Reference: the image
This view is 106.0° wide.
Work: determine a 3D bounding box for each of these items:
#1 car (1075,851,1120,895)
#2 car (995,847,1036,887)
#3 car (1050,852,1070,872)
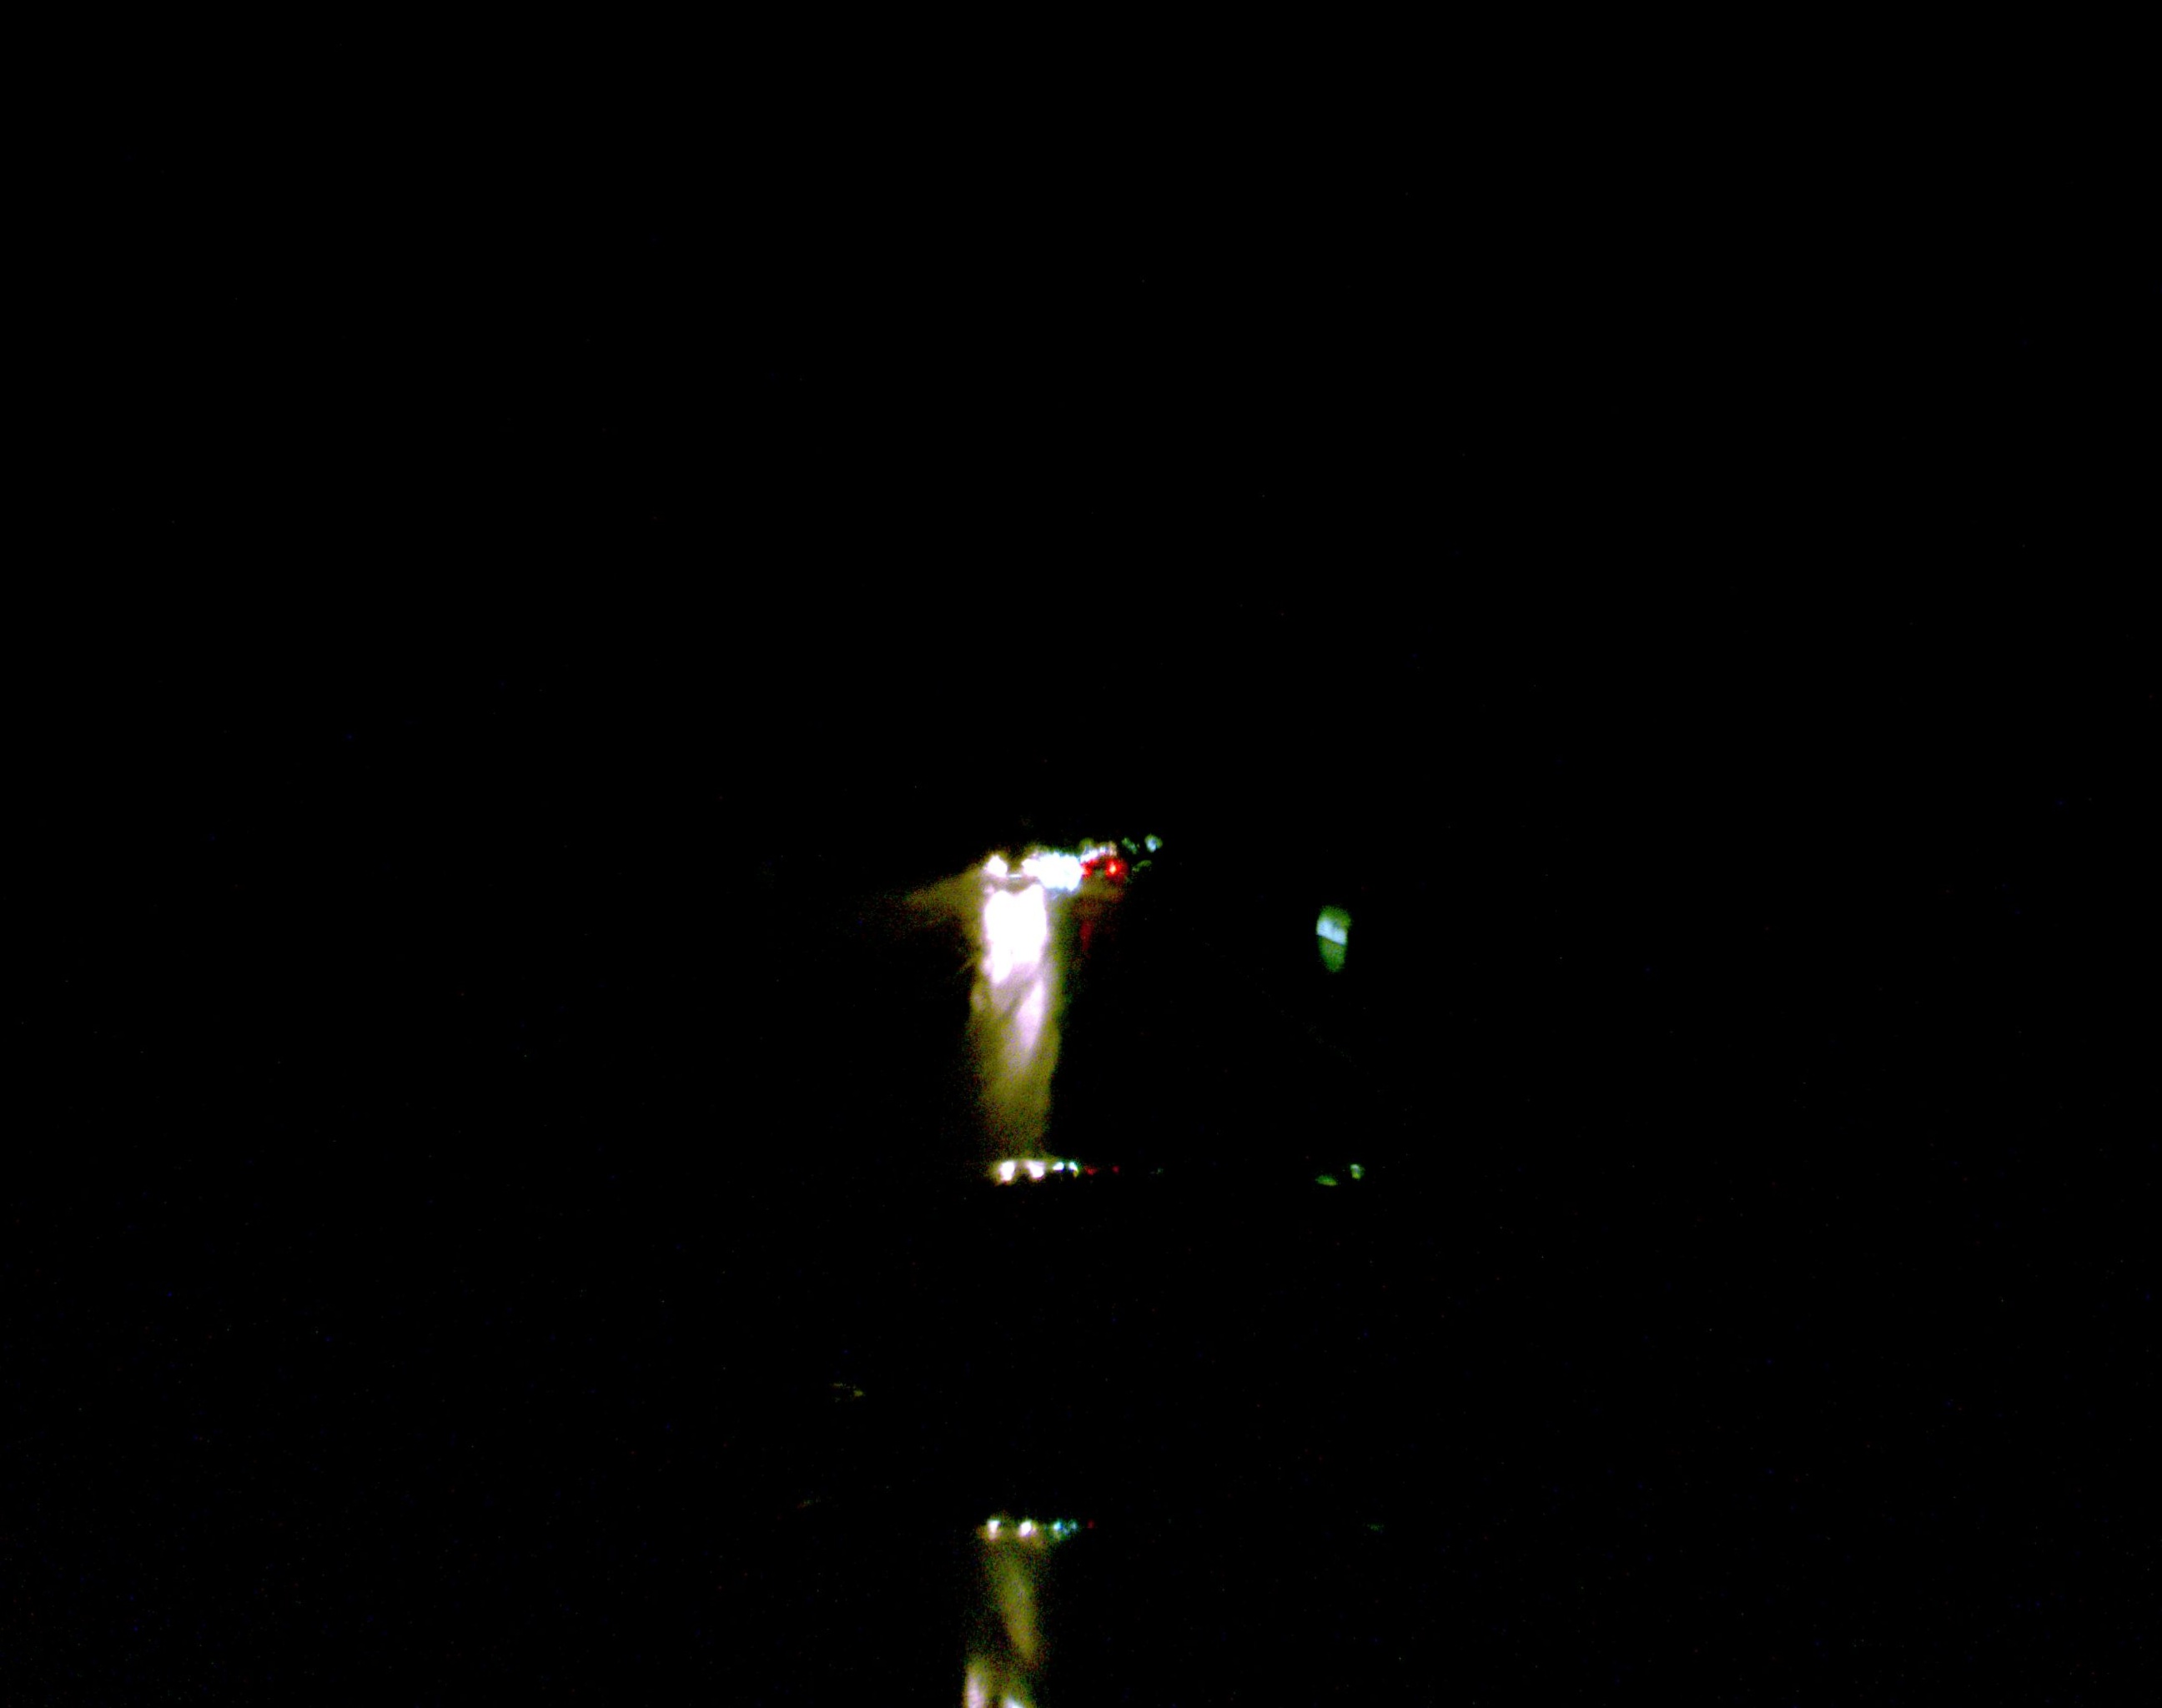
[{"bbox_3d":[0.788,0.881,39.695,2.086,2.013,4.000,0,0,0],"label":"car"},{"bbox_3d":[-3.370,0.635,42.530,1.988,2.013,3.997,0,0,-2],"label":"car"},{"bbox_3d":[-2.249,0.810,86.809,1.988,2.013,3.997,0,0,-2],"label":"car"}]
